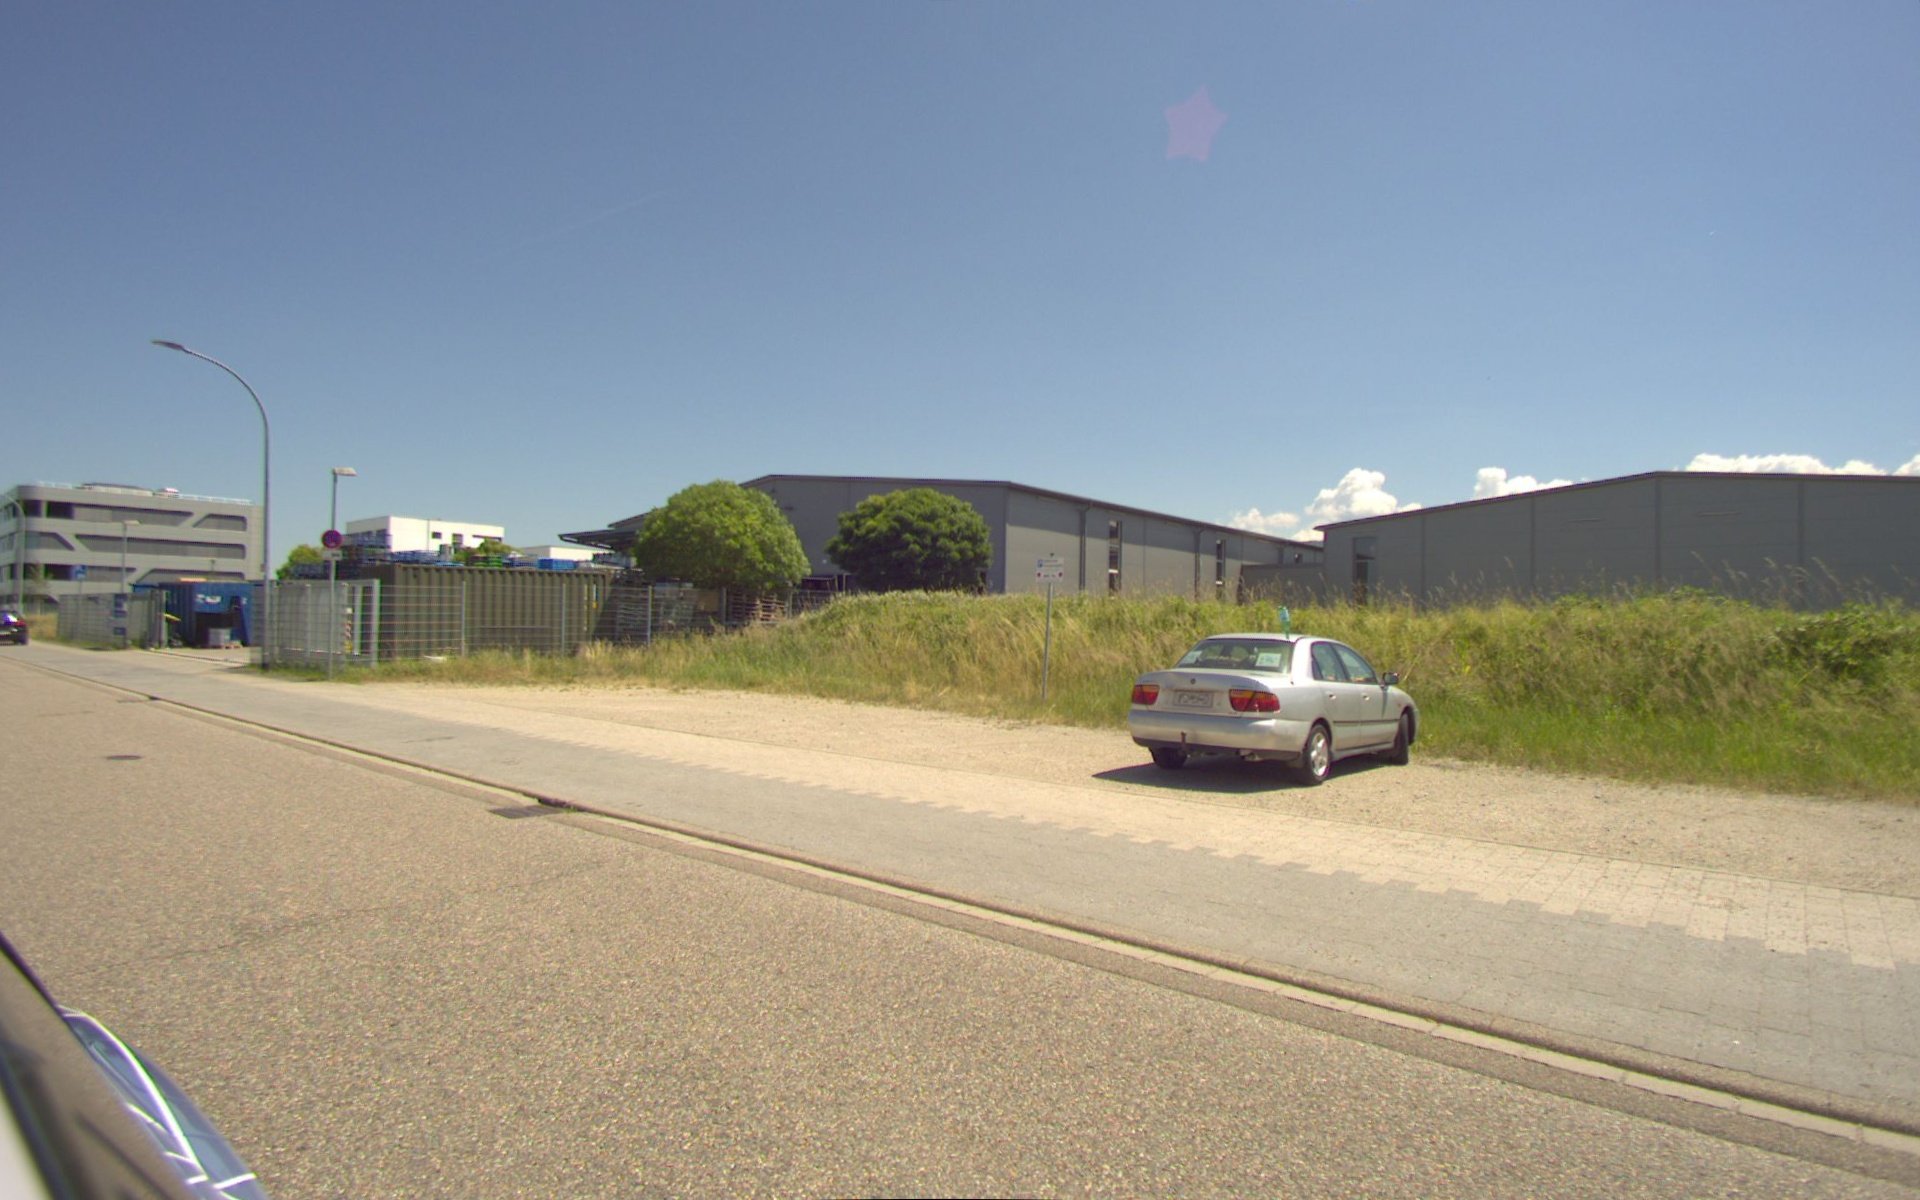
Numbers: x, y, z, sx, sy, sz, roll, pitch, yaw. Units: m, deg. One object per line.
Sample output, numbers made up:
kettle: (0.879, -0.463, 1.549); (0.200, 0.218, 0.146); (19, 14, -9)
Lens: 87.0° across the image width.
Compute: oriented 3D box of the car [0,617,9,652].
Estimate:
car: (-44.263, 1.556, 45.581); (3.776, 1.541, 1.749); (0, 0, 41)

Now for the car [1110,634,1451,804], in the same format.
car: (3.519, 1.087, 10.613); (1.862, 1.390, 4.201); (-1, -3, 42)

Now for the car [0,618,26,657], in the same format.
car: (-39.655, 1.518, 41.480); (3.659, 1.501, 1.673); (0, 0, 41)
